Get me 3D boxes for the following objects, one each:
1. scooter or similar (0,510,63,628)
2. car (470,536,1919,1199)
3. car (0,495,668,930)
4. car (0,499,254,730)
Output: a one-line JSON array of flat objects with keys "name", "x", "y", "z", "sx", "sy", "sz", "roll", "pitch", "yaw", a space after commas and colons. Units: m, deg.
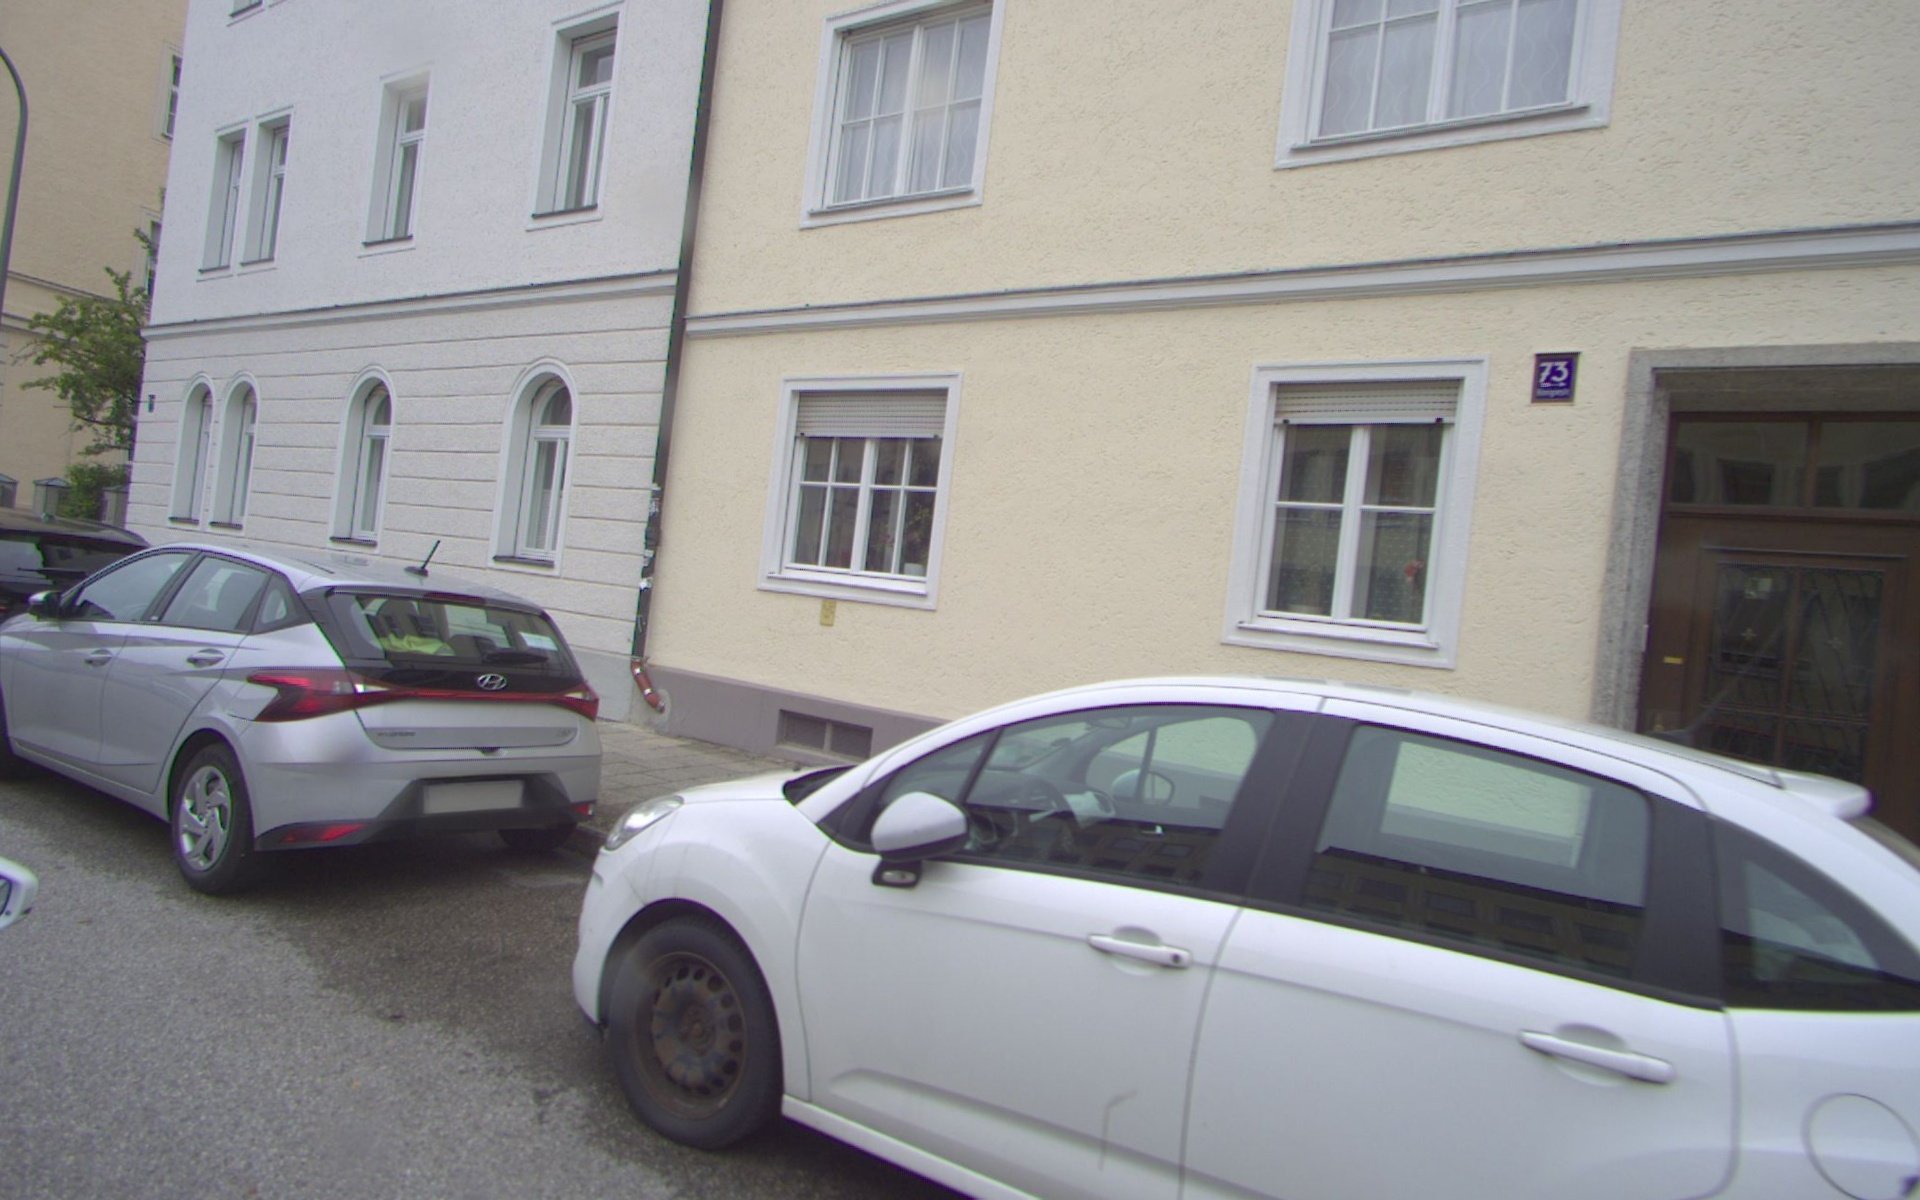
[{"name": "scooter or similar", "x": -10.748, "y": -0.370, "z": 11.440, "sx": 1.030, "sy": 1.245, "sz": 0.428, "roll": 7, "pitch": -1, "yaw": 31}, {"name": "car", "x": 0.656, "y": 0.867, "z": 2.926, "sx": 3.925, "sy": 1.561, "sz": 1.655, "roll": 7, "pitch": -2, "yaw": 29}, {"name": "car", "x": -3.819, "y": 0.379, "z": 5.560, "sx": 4.116, "sy": 1.466, "sz": 1.728, "roll": 7, "pitch": -2, "yaw": 30}, {"name": "car", "x": -7.860, "y": -0.095, "z": 7.967, "sx": 4.599, "sy": 1.466, "sz": 1.880, "roll": 7, "pitch": -2, "yaw": 31}]
